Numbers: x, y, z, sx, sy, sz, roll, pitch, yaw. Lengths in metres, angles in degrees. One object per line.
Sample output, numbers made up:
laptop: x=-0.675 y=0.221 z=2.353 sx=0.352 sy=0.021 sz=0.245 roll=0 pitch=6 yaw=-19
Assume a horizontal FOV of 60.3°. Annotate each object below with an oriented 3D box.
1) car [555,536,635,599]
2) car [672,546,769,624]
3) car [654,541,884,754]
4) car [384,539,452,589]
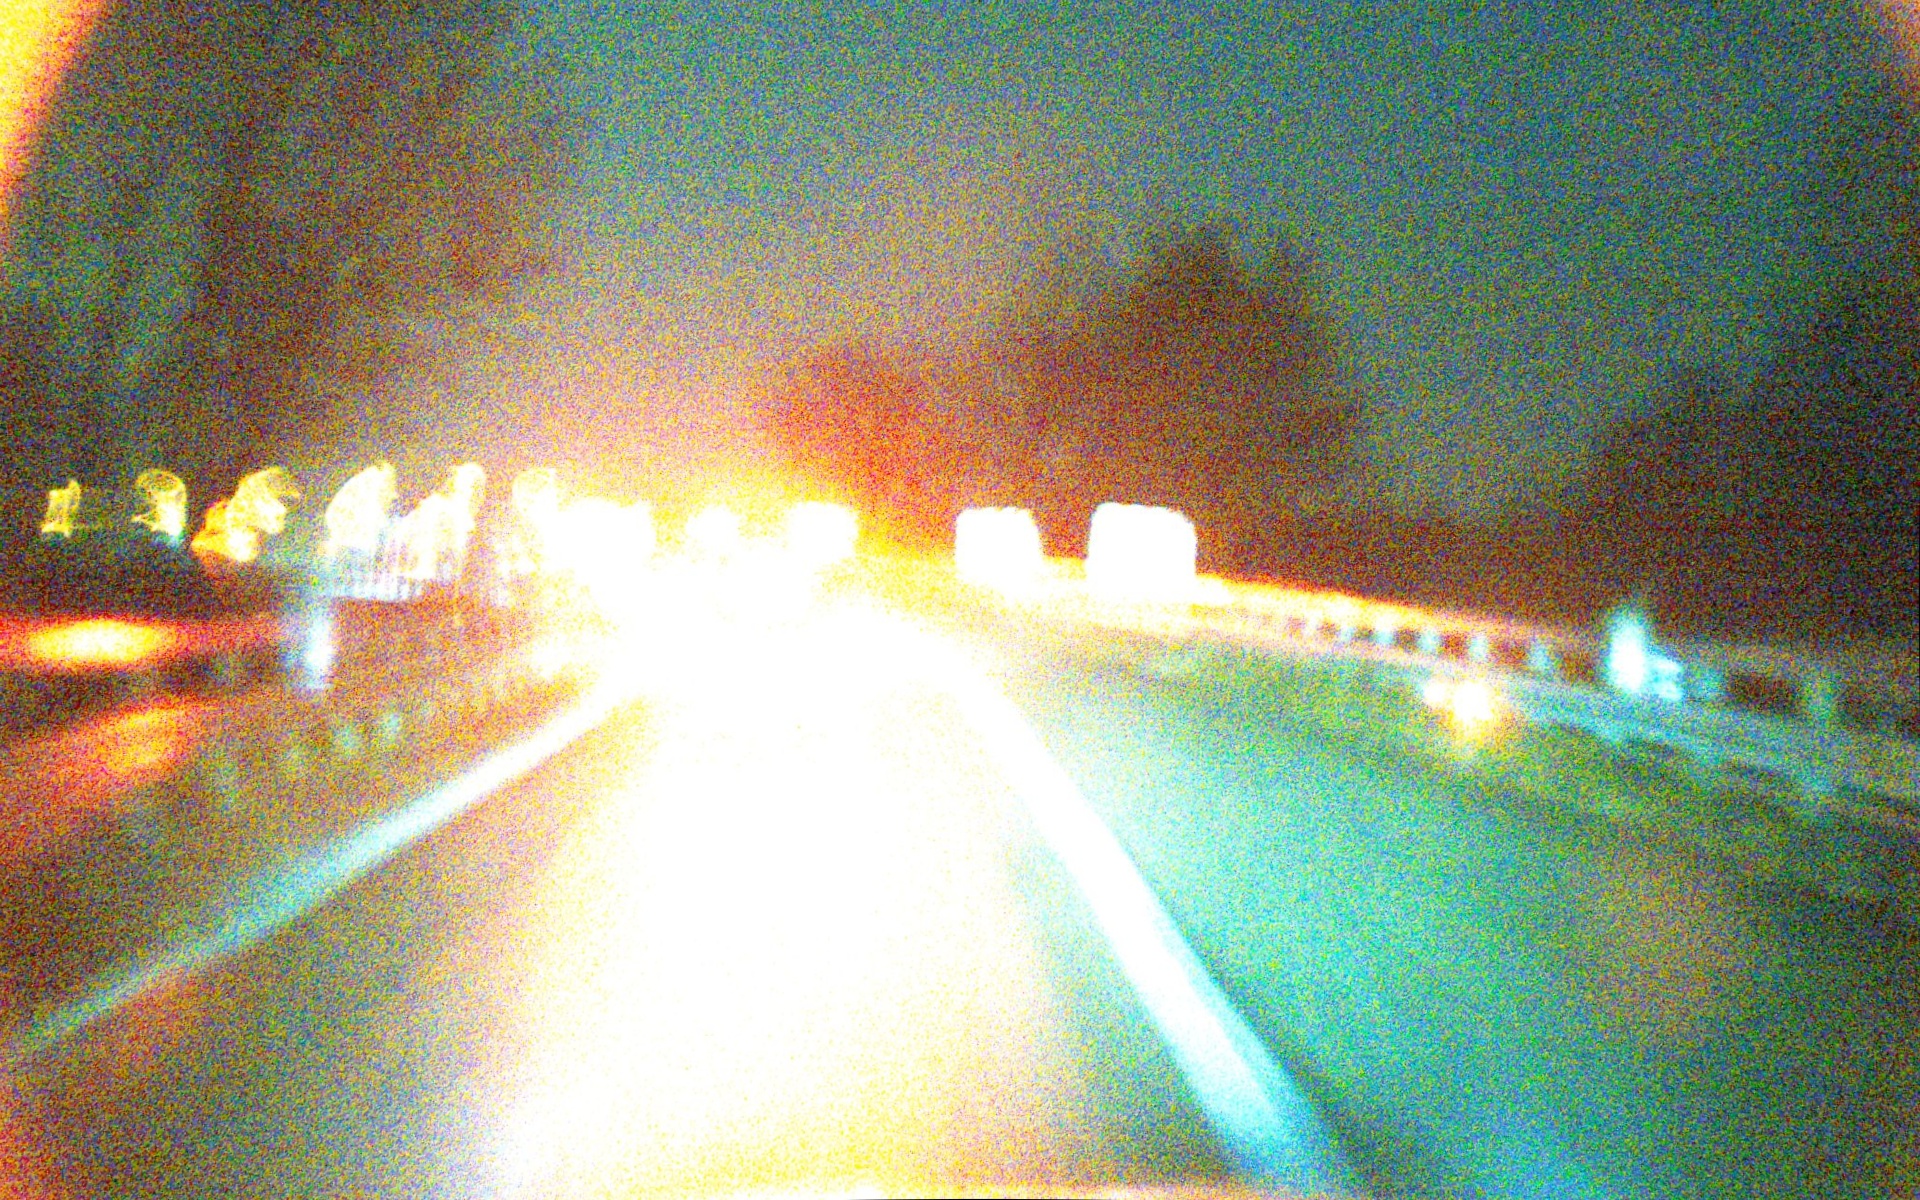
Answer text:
car: x=-12.559 y=-1.136 z=56.771 sx=1.871 sy=2.075 sz=4.014 roll=0 pitch=2 yaw=-25
car: x=-5.745 y=-0.382 z=39.369 sx=1.863 sy=1.750 sz=4.030 roll=0 pitch=1 yaw=-14
car: x=-1.789 y=0.336 z=15.207 sx=1.825 sy=1.676 sz=4.062 roll=0 pitch=1 yaw=-8
car: x=-22.941 y=-1.540 z=69.941 sx=1.877 sy=2.032 sz=4.003 roll=0 pitch=2 yaw=-31
